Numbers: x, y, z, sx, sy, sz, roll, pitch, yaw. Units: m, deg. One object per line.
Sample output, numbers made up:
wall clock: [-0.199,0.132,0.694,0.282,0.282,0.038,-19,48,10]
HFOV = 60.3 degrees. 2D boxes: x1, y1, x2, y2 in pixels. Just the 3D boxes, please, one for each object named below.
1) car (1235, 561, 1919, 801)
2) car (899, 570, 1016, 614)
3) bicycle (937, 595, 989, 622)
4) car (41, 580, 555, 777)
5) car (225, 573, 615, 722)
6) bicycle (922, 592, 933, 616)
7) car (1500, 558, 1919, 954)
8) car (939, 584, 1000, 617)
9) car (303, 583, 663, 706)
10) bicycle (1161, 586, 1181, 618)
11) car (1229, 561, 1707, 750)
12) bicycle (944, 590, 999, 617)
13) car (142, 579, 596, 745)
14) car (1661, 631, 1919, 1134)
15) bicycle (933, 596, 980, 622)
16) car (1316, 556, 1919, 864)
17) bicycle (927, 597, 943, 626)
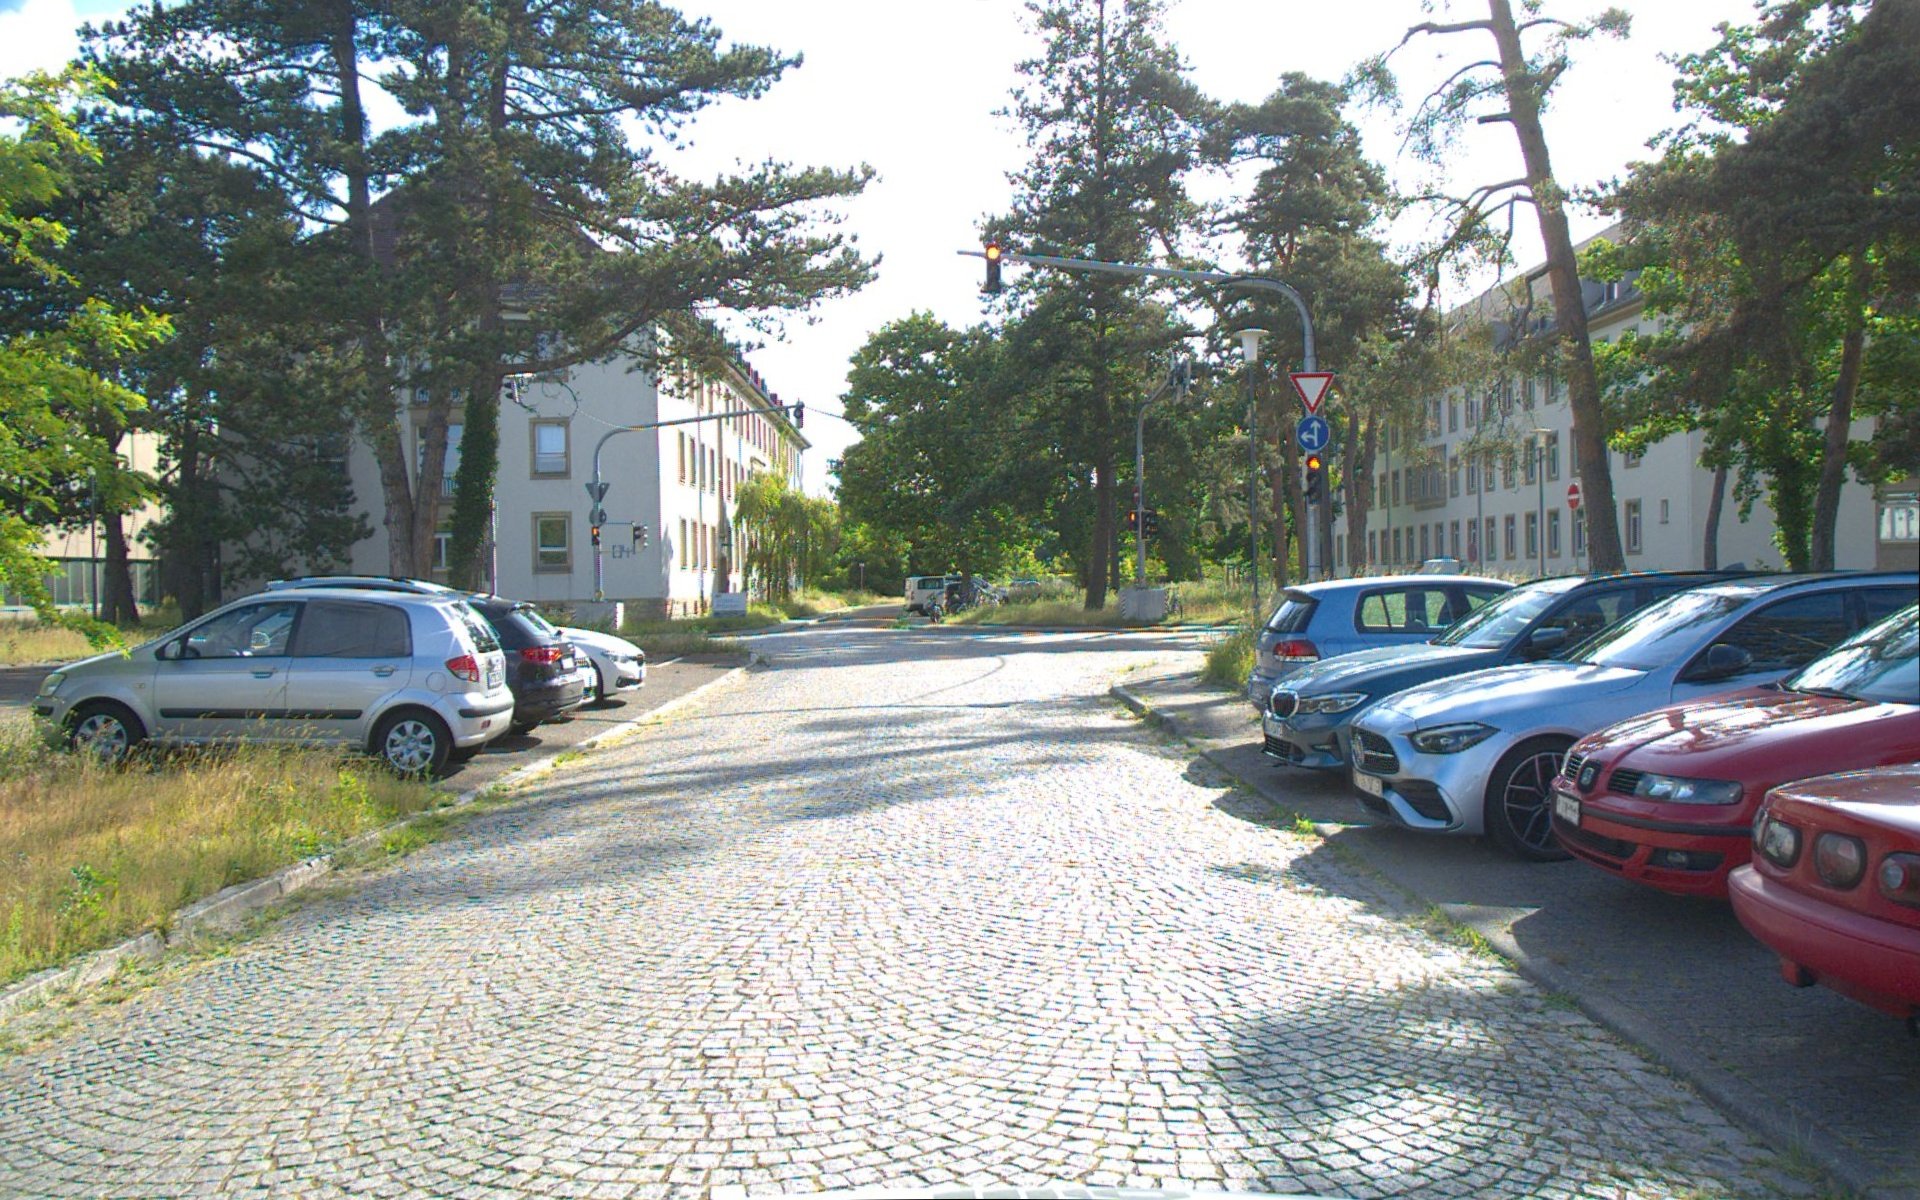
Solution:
car: [4.432,0.544,12.272,4.467,1.439,1.636,-3,1,0]
car: [-0.111,-0.395,81.839,5.438,2.049,1.989,1,0,-19]
bicycle: [0.124,0.351,65.562,1.967,1.028,0.631,1,0,-9]
car: [-5.449,0.625,13.985,3.672,1.513,1.645,1,1,-4]
car: [-6.241,0.524,19.513,3.999,1.621,1.884,1,1,-4]
bicycle: [-1.441,0.178,73.478,0.409,1.028,1.483,1,0,0]
car: [4.712,0.548,7.360,4.043,1.474,1.636,-3,1,0]
car: [0.420,0.024,78.329,2.728,1.492,1.669,1,0,-5]
car: [-6.195,0.558,21.879,4.248,1.494,1.829,1,1,-4]
bicycle: [6.618,0.057,51.861,0.294,0.977,1.584,1,0,-4]
car: [4.507,0.460,15.052,3.803,1.439,1.636,-3,1,0]
bicycle: [0.434,0.131,63.930,2.070,1.028,0.620,1,0,-9]
car: [-5.774,0.584,16.560,3.908,1.506,1.802,1,1,-4]
car: [4.353,0.705,5.073,3.632,1.244,1.746,-3,1,0]
bicycle: [-0.150,0.350,67.314,1.803,1.028,0.635,1,0,-9]
car: [4.441,0.539,9.555,4.342,1.439,1.781,-3,1,0]
bicycle: [-0.910,0.405,60.245,0.458,1.028,1.584,1,0,-4]
